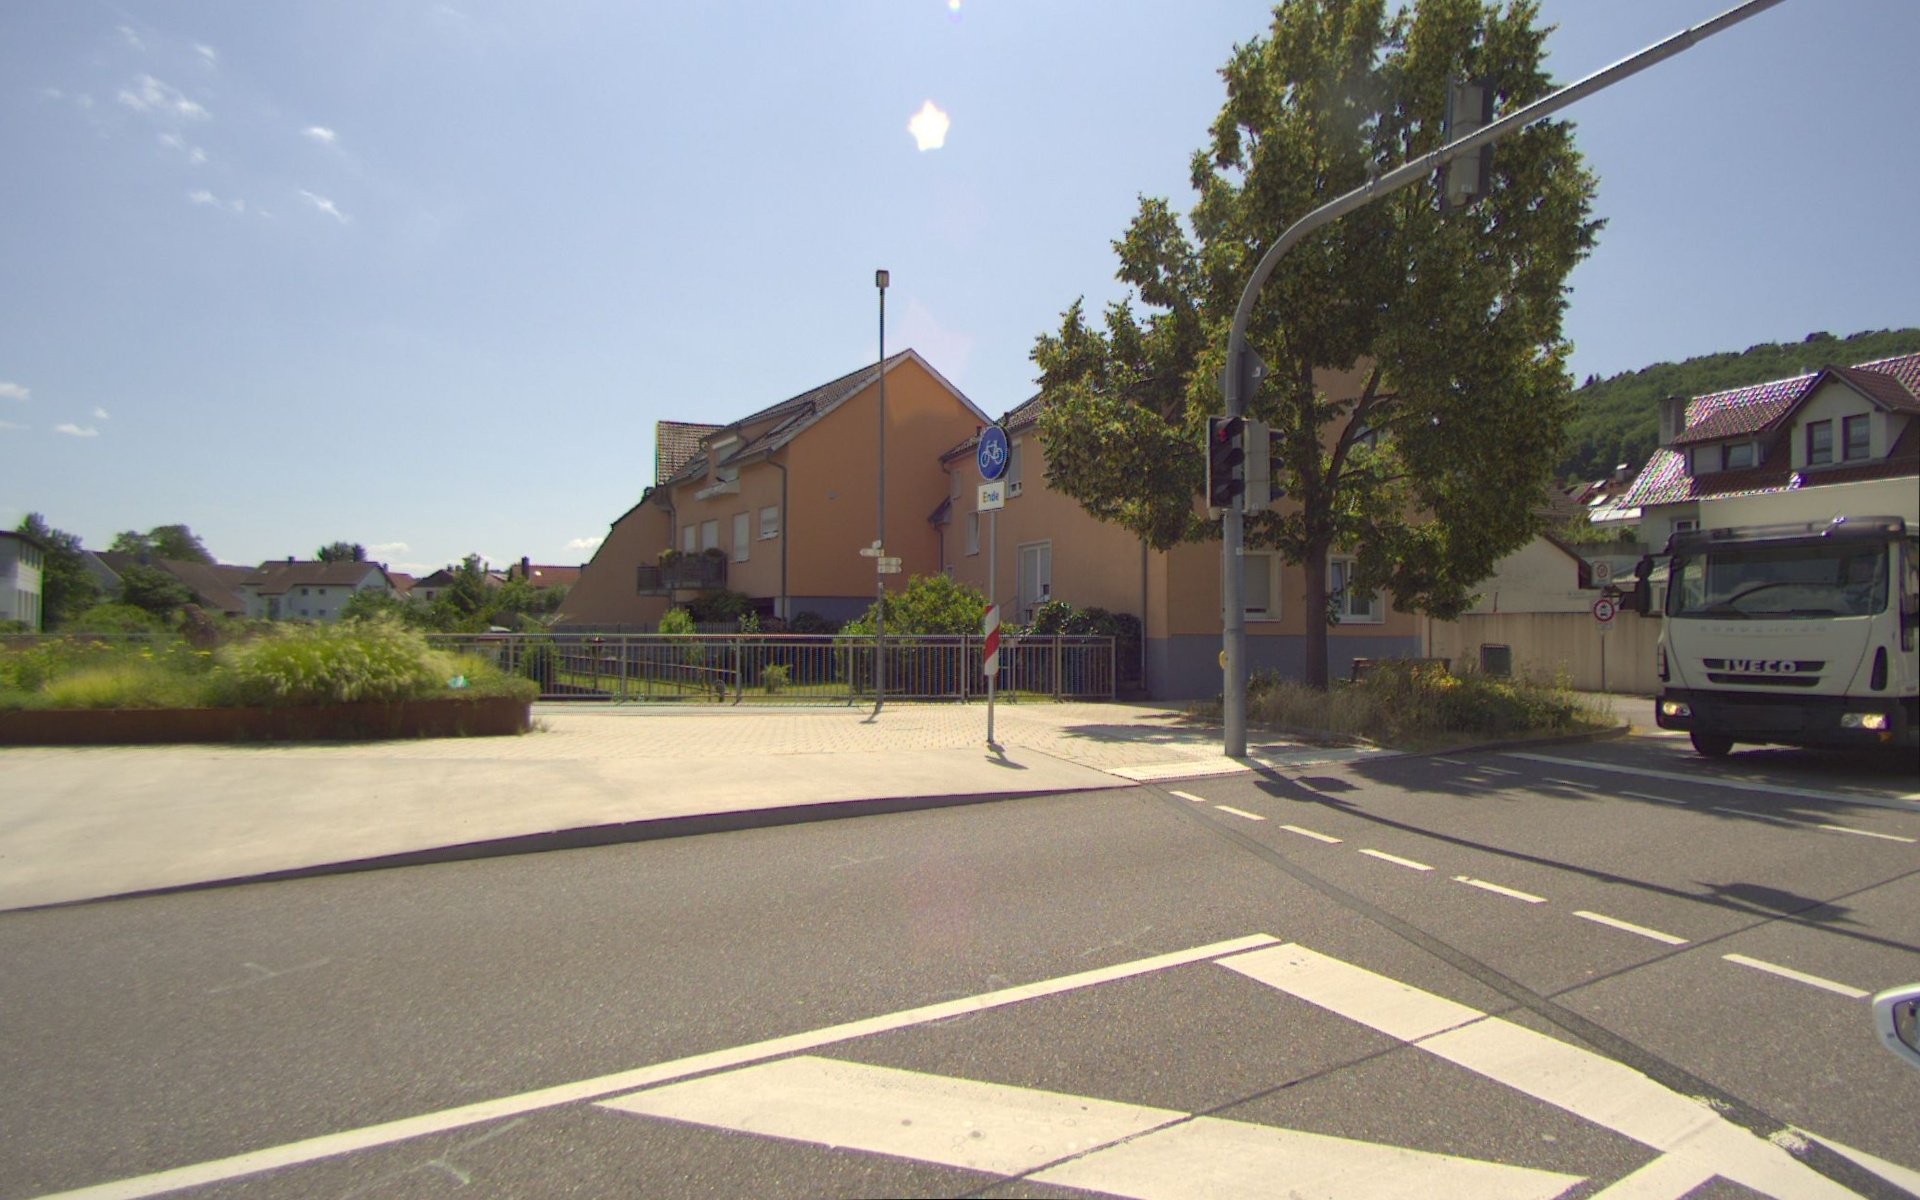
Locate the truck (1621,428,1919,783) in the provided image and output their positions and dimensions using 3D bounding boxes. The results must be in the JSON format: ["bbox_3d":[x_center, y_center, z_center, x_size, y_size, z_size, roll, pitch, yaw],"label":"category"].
[{"bbox_3d":[10.695,0.163,11.873,5.971,3.278,2.490,2,-2,-31],"label":"truck"}]
